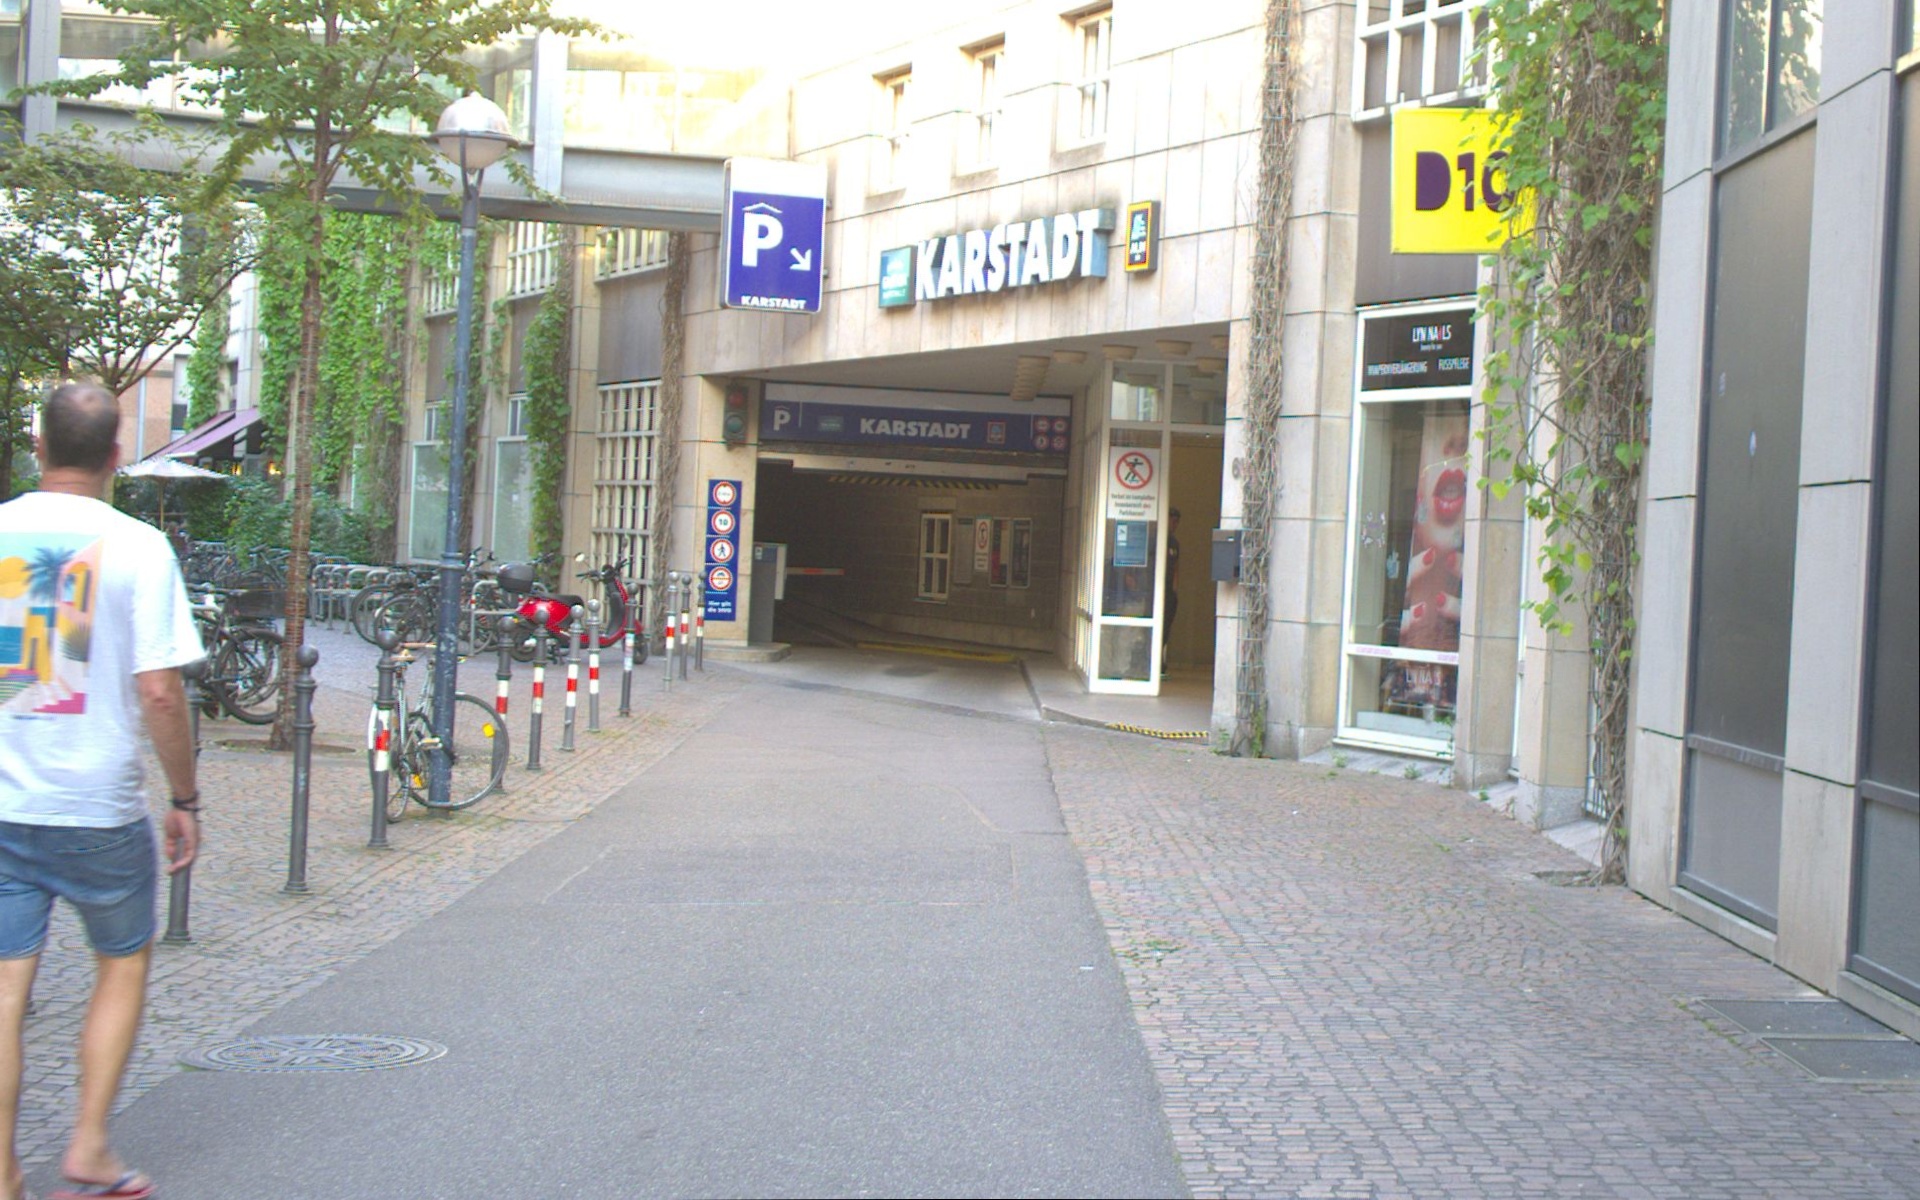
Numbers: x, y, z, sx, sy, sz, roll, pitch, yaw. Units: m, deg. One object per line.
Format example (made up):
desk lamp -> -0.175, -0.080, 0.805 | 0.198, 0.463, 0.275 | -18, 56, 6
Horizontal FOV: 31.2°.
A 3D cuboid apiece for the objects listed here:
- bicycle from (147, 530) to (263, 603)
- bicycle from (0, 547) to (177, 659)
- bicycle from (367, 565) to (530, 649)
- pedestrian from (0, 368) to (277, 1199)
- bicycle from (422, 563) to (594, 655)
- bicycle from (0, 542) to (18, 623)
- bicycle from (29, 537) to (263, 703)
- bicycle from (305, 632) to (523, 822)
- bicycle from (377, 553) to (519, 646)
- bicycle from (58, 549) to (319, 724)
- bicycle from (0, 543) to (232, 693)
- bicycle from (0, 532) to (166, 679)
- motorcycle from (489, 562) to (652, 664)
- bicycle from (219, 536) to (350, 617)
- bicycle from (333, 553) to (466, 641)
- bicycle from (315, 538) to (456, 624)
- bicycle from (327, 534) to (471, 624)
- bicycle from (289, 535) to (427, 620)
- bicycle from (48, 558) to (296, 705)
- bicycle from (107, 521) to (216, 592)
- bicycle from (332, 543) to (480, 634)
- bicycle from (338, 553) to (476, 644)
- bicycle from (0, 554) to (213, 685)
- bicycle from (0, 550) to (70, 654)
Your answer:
bicycle -> -12.241, -0.548, 55.738 | 1.773, 1.110, 0.543 | 2, 1, -18
bicycle -> -8.589, 0.025, 33.269 | 1.876, 1.039, 0.534 | 1, 1, -22
bicycle -> -5.920, 0.083, 39.795 | 1.773, 0.901, 0.464 | 2, 1, -20
pedestrian -> -1.979, 0.423, 7.516 | 0.742, 1.816, 0.878 | 2, 1, -1
bicycle -> -5.115, 0.099, 38.944 | 1.847, 0.978, 0.464 | 2, 1, -20
bicycle -> -12.899, -0.243, 43.577 | 1.779, 1.016, 0.481 | 1, 1, -22
bicycle -> -6.267, 0.157, 26.477 | 1.653, 1.226, 0.534 | 1, 1, -22
bicycle -> -2.948, 0.670, 18.718 | 0.493, 0.935, 1.658 | 4, 1, 15
bicycle -> -6.071, -0.002, 40.744 | 1.539, 1.045, 0.575 | 2, 1, -20
bicycle -> -5.642, 0.271, 25.159 | 1.766, 1.226, 0.534 | 1, 1, -22
bicycle -> -6.996, 0.149, 28.282 | 1.872, 1.173, 0.534 | 1, 1, -22
bicycle -> -7.801, 0.045, 29.484 | 1.833, 1.221, 0.534 | 1, 1, -22
motorcycle -> -4.230, 0.139, 37.319 | 1.662, 1.047, 0.464 | 2, 1, -20
bicycle -> -9.795, -0.336, 49.851 | 1.773, 1.110, 0.543 | 2, 1, -20
bicycle -> -7.030, -0.035, 43.118 | 1.539, 1.045, 0.575 | 2, 1, -20
bicycle -> -7.777, -0.257, 46.564 | 1.773, 1.110, 0.543 | 2, 1, -20
bicycle -> -7.404, -0.274, 45.362 | 1.773, 1.110, 0.543 | 2, 1, -20
bicycle -> -8.329, -0.311, 47.595 | 1.773, 1.110, 0.543 | 2, 1, -20
bicycle -> -6.261, 0.251, 27.329 | 1.836, 1.118, 0.534 | 1, 1, -22
bicycle -> -14.127, -0.771, 60.814 | 1.773, 1.186, 0.586 | 2, 1, -20
bicycle -> -7.135, -0.150, 44.290 | 1.773, 1.110, 0.543 | 2, 1, -20
bicycle -> -6.711, -0.021, 41.721 | 1.539, 1.045, 0.575 | 2, 1, -20
bicycle -> -7.280, 0.161, 28.812 | 1.893, 1.048, 0.534 | 1, 1, -22
bicycle -> -10.049, 0.004, 35.027 | 1.824, 1.039, 0.534 | 1, 1, -22
